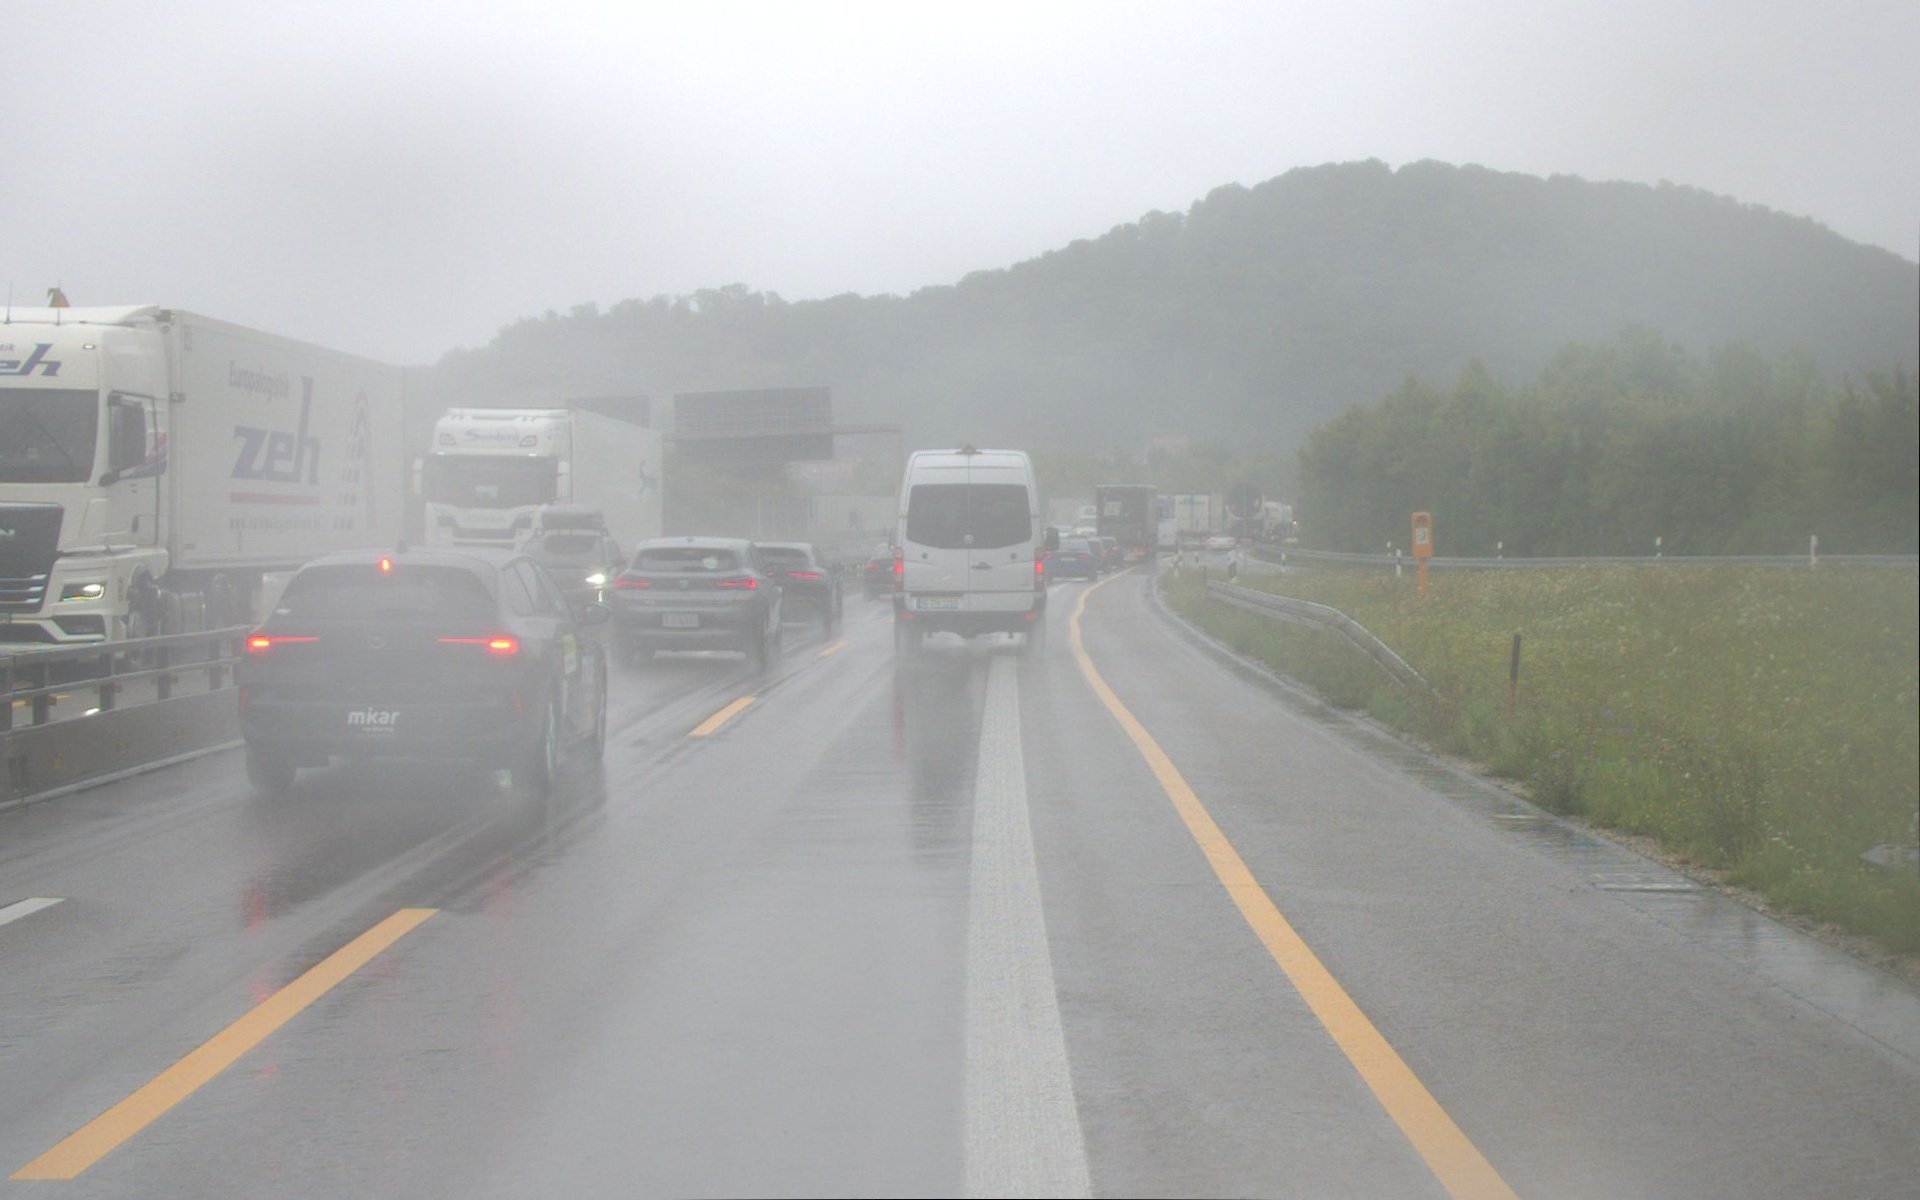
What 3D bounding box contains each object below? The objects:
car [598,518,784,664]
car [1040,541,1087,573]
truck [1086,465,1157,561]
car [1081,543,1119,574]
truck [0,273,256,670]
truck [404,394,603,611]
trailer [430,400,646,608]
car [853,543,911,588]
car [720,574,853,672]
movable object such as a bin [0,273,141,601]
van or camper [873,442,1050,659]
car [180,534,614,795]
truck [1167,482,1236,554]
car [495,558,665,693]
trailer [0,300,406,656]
[{"bbox_3d":[-3.152,-0.130,40.979,1.867,1.653,3.988,0,1,0],"label":"car"},{"bbox_3d":[3.513,-1.476,116.992,1.384,1.074,3.123,0,1,-2],"label":"car"},{"bbox_3d":[8.417,-4.442,178.363,3.321,4.768,9.905,1,1,4],"label":"truck"},{"bbox_3d":[5.663,-1.684,139.463,1.384,1.252,3.123,0,1,0],"label":"car"},{"bbox_3d":[-9.773,-1.399,38.108,2.483,4.017,6.448,1,2,1],"label":"truck"},{"bbox_3d":[-8.929,-1.920,68.013,2.883,4.087,6.926,0,1,1],"label":"truck"},{"bbox_3d":[-8.843,-2.038,73.589,2.907,4.075,12.220,0,1,1],"label":"trailer"},{"bbox_3d":[-1.898,-0.854,84.542,1.262,1.074,3.254,0,1,2],"label":"car"},{"bbox_3d":[-2.783,0.346,55.973,1.852,1.495,4.000,0,1,2],"label":"car"},{"bbox_3d":[-24.503,-4.124,89.722,3.597,8.115,8.307,1,0,4],"label":"movable object such as a bin"},{"bbox_3d":[-0.042,-0.654,45.581,2.139,2.712,4.649,0,1,-2],"label":"van or camper"},{"bbox_3d":[-3.363,0.327,21.461,1.939,1.422,4.760,1,1,0],"label":"car"},{"bbox_3d":[17.002,-5.685,241.214,3.930,4.768,9.903,1,1,9],"label":"truck"},{"bbox_3d":[-5.654,0.339,51.658,1.993,1.878,4.433,0,1,1],"label":"car"},{"bbox_3d":[-9.662,-1.559,45.380,2.494,4.035,12.588,0,2,1],"label":"trailer"}]
